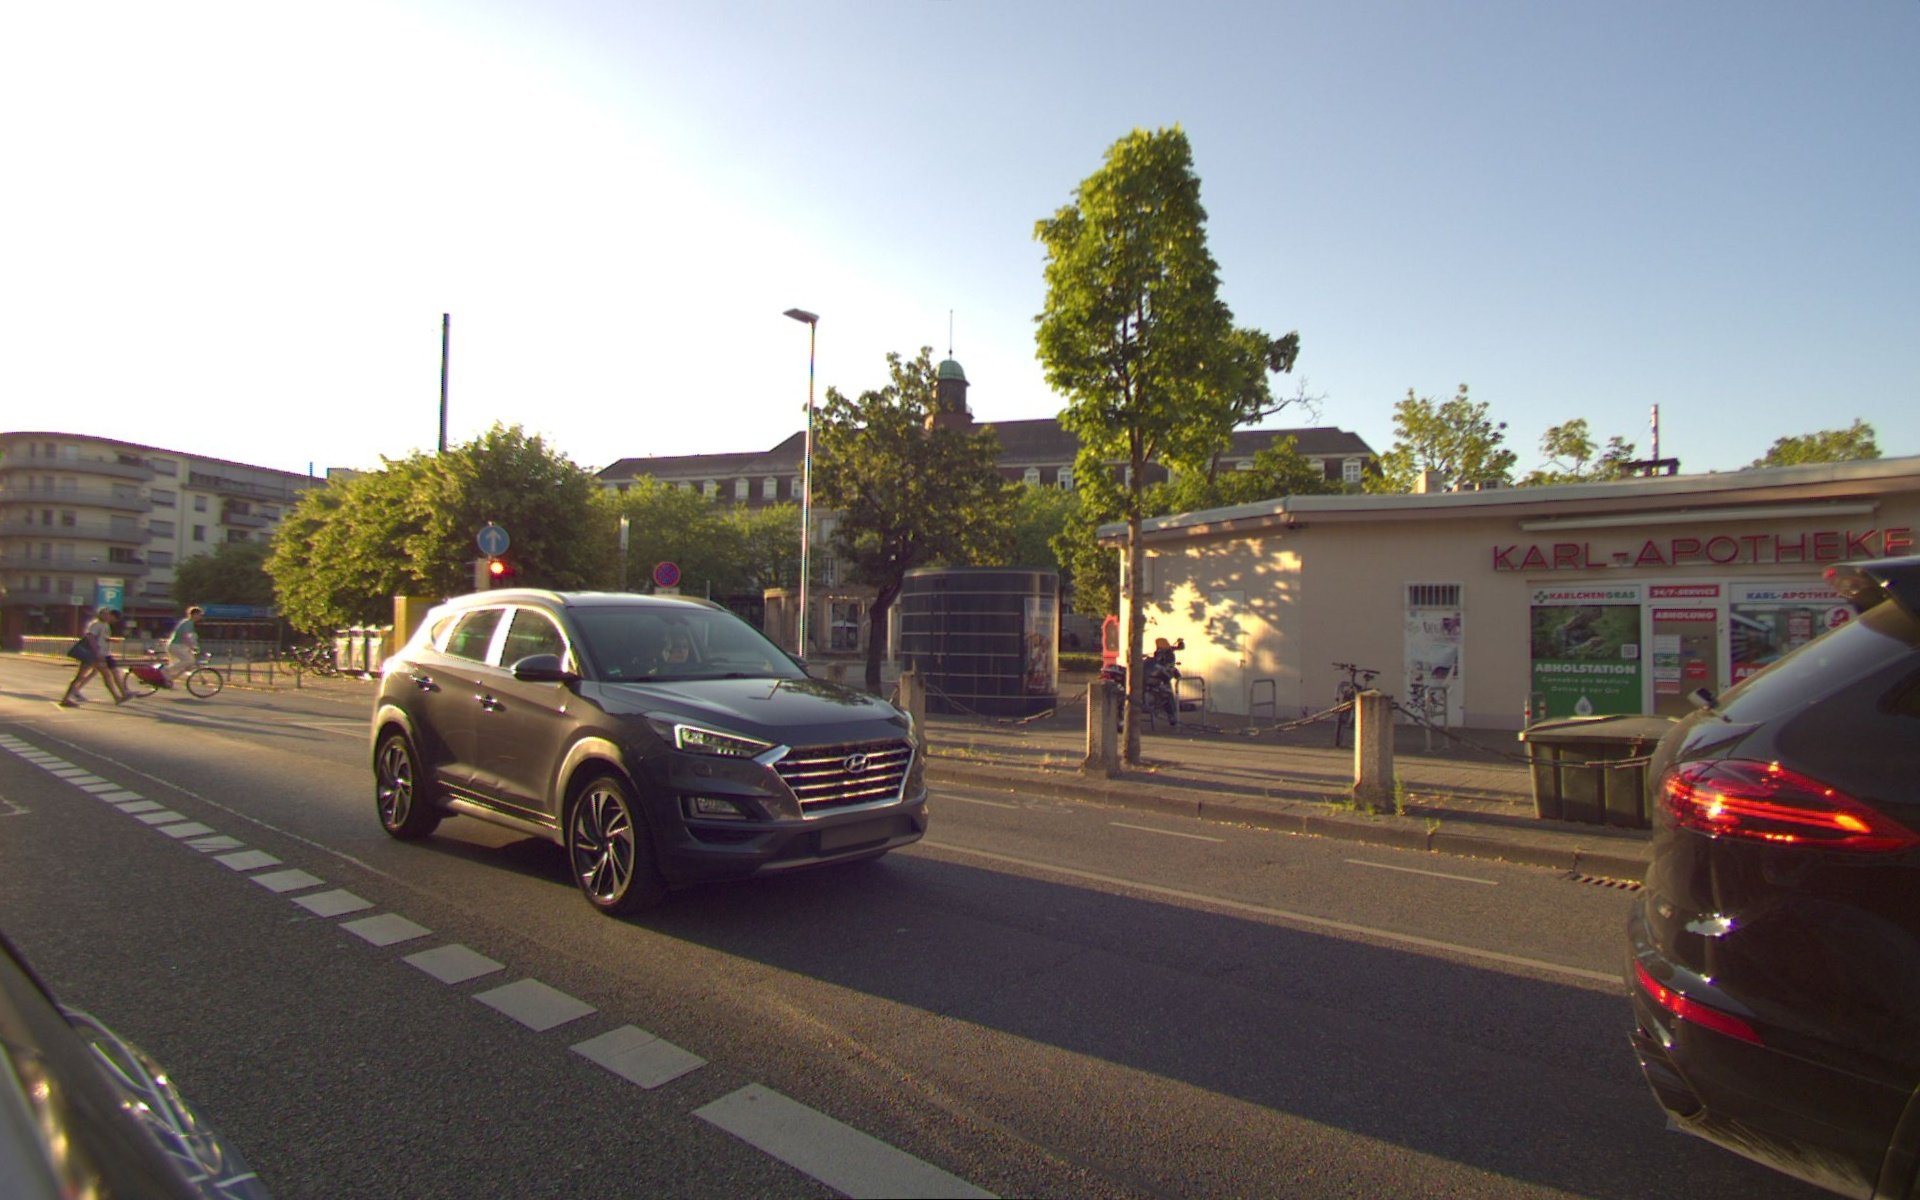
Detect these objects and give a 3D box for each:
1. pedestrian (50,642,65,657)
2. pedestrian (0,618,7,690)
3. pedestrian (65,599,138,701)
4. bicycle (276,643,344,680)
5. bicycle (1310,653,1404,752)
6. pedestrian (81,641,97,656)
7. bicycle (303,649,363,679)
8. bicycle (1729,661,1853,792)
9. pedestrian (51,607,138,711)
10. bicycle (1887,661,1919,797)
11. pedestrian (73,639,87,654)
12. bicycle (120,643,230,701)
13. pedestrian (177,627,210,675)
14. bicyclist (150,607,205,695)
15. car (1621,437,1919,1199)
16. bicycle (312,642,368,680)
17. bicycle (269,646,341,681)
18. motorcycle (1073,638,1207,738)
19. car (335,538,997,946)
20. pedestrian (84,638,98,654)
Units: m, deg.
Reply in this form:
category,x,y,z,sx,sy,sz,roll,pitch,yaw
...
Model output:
category,x,y,z,sx,sy,sz,roll,pitch,yaw
pedestrian,-74.837,4.120,83.952,0.875,1.201,0.734,2,-4,-40
pedestrian,-22.485,1.225,23.023,0.779,1.666,0.781,1,-3,-7
pedestrian,-16.687,0.967,19.676,0.826,1.912,0.927,-2,-4,44
bicycle,-23.333,2.190,36.356,0.548,1.262,2.007,-2,-2,36
bicycle,5.524,1.382,14.022,0.632,1.266,1.834,-2,-4,41
pedestrian,-74.800,4.175,86.924,0.814,1.332,0.684,-1,-3,16
bicycle,-21.491,2.182,34.721,0.548,0.986,1.658,-2,-2,36
bicycle,9.093,1.314,11.052,0.949,1.266,1.984,-2,-4,41
pedestrian,-15.471,1.054,18.102,1.084,1.788,0.827,3,-4,-41
bicycle,9.945,1.254,10.208,0.787,1.266,2.418,-2,-4,41
pedestrian,-74.964,3.962,86.171,0.888,1.332,0.723,-2,-3,39
bicycle,-16.928,1.538,21.836,1.797,1.195,0.794,3,-4,-41
pedestrian,-29.480,1.960,38.932,0.937,1.831,0.828,3,-4,-37
bicyclist,-16.898,1.093,21.856,0.823,1.840,0.832,3,-4,-42
car,3.720,0.571,1.346,4.557,1.727,1.929,-2,-4,40
bicycle,-21.139,2.071,34.535,0.444,1.262,1.571,-2,-2,38
bicycle,-22.452,2.156,34.706,0.548,1.143,2.007,-2,-2,36
motorcycle,2.867,1.340,15.851,0.868,1.440,2.554,-2,-4,41
car,-2.083,0.700,6.407,4.446,1.702,1.853,-2,-5,40
pedestrian,-74.511,3.966,86.763,0.887,1.332,0.723,-2,-3,38
